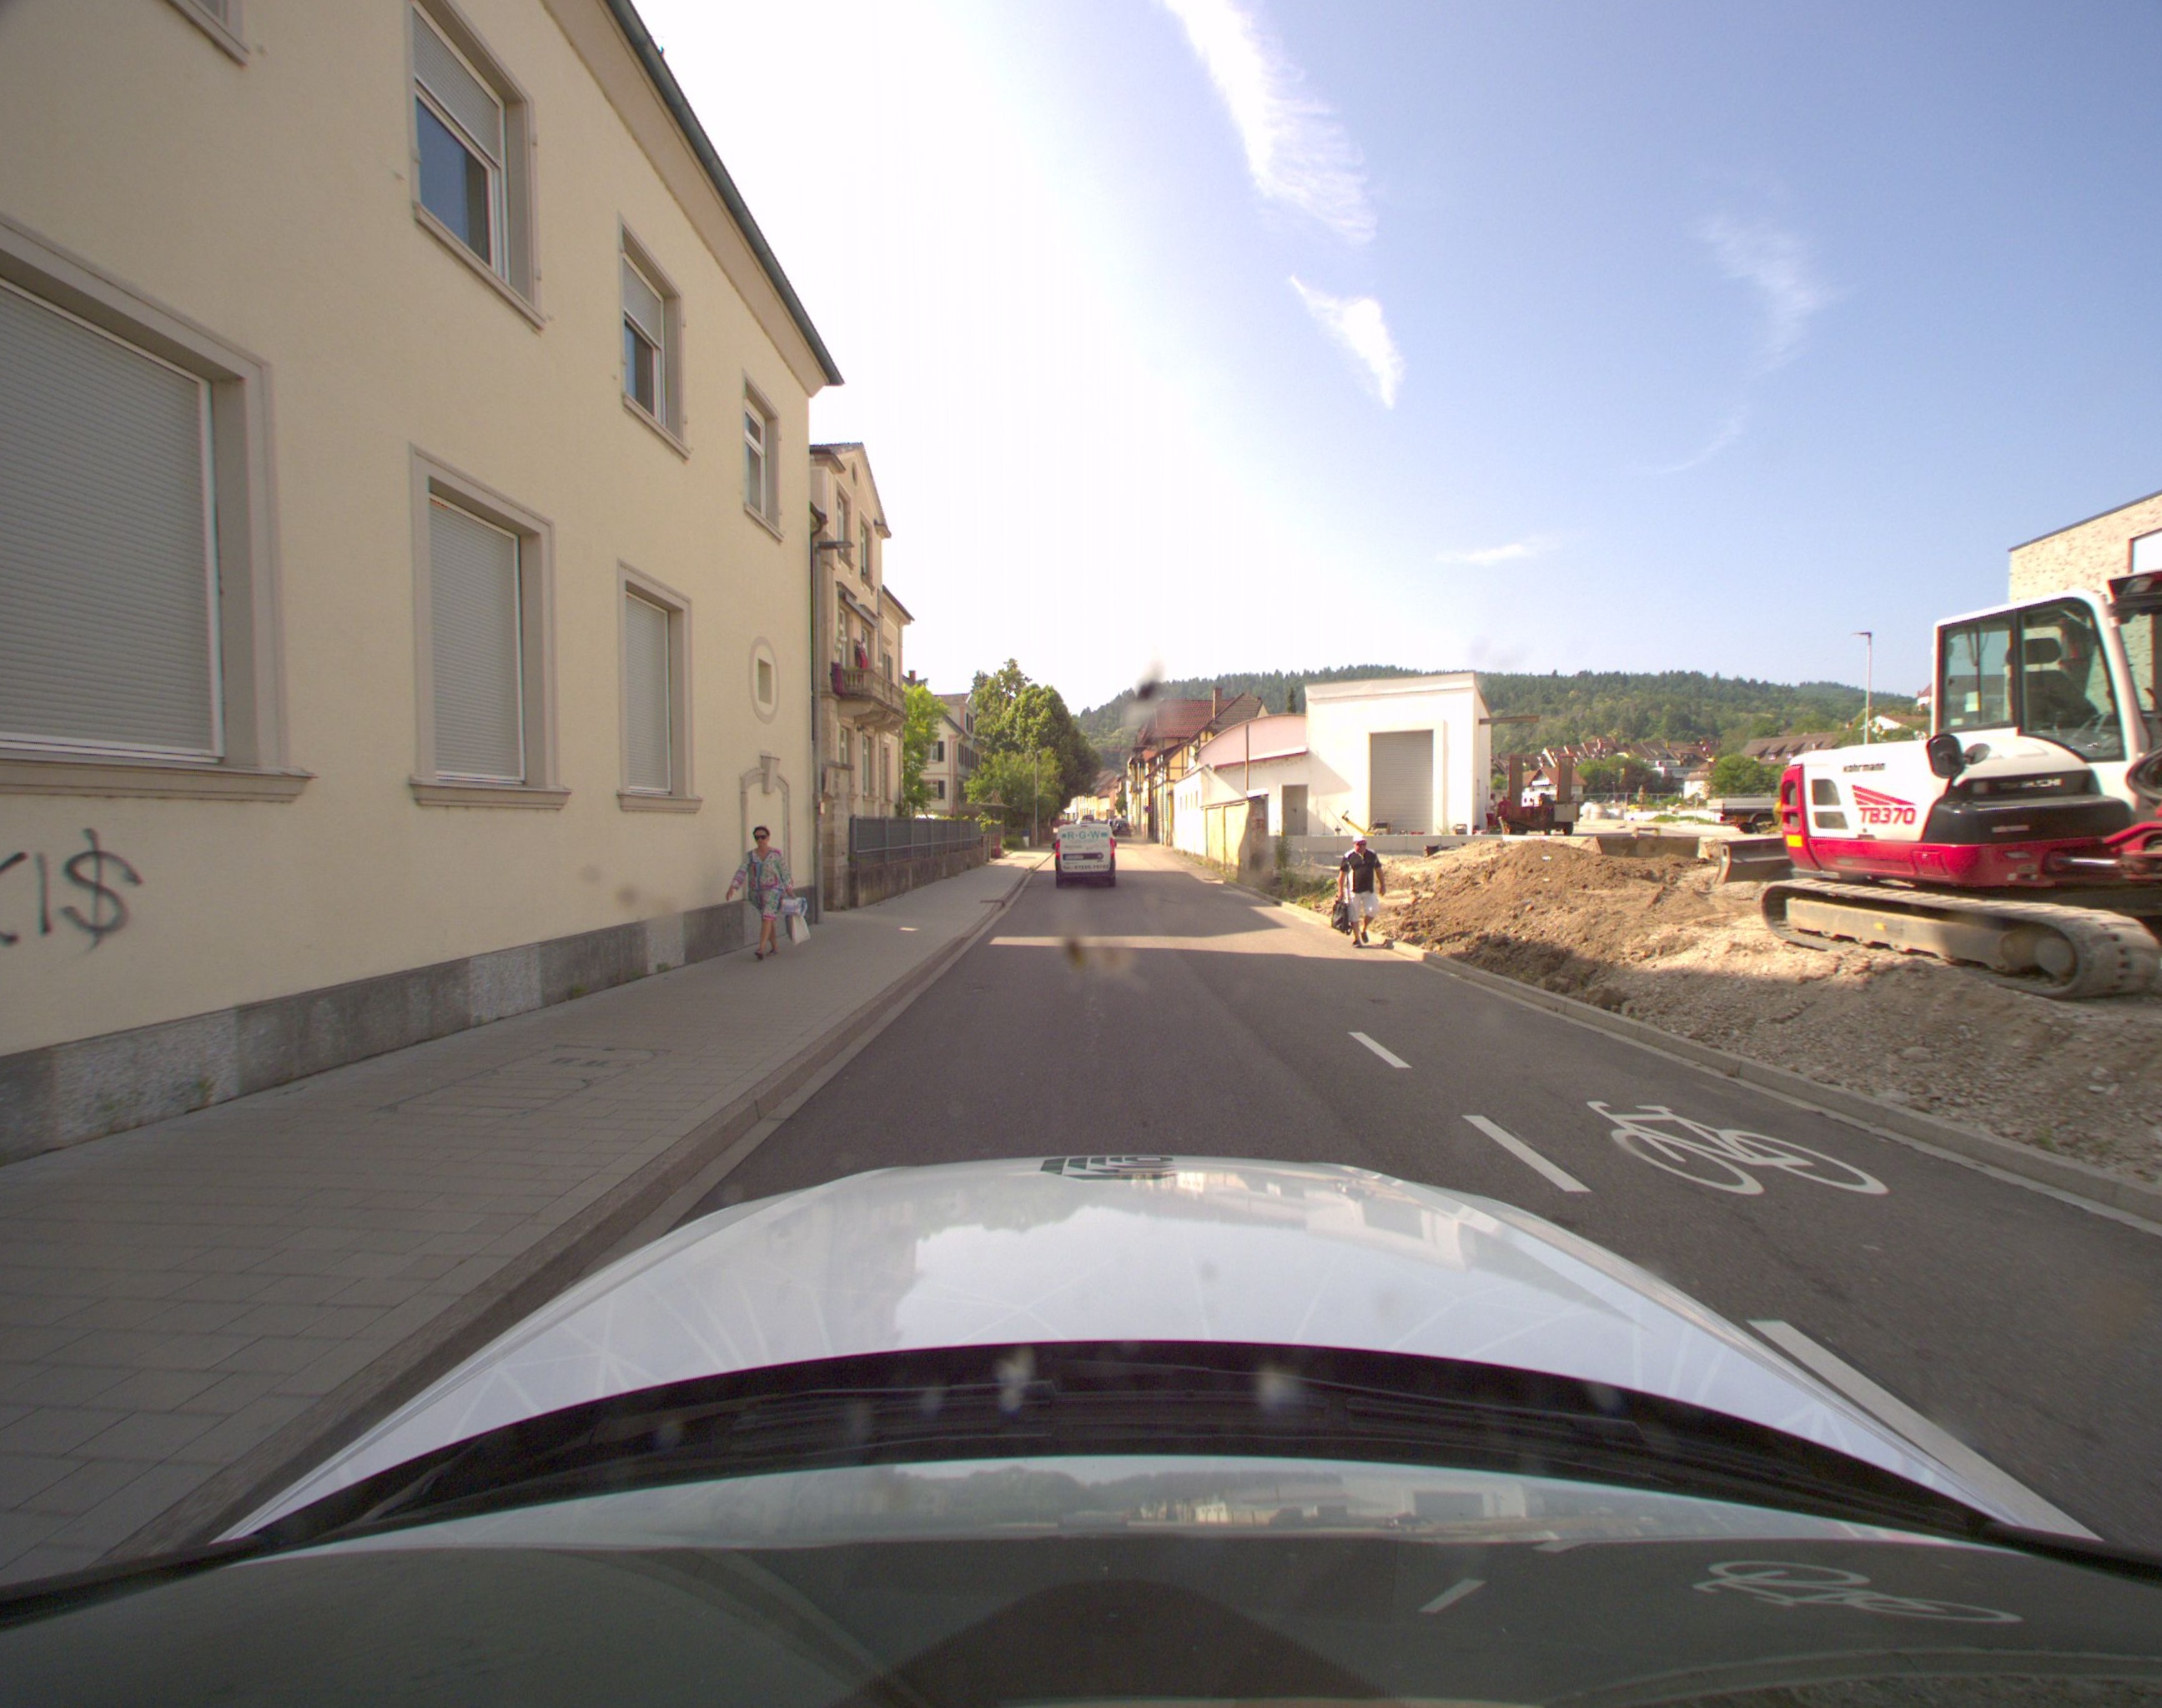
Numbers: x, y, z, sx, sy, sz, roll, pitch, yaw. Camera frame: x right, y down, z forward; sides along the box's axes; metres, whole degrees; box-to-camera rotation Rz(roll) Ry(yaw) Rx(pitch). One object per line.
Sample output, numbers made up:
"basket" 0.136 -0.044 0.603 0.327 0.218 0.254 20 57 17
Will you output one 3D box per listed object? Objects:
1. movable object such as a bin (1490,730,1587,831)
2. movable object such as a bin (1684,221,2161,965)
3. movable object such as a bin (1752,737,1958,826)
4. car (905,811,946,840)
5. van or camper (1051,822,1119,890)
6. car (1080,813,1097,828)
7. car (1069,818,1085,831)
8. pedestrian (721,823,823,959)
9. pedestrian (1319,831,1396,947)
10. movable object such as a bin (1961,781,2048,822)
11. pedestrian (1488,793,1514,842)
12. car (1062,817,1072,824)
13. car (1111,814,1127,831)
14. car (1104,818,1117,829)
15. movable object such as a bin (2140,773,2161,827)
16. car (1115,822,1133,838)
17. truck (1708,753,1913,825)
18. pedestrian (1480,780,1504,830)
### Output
"movable object such as a bin" 18.334 -2.810 32.465 2.823 3.620 5.773 3 4 33
"movable object such as a bin" 6.683 -1.323 3.852 2.284 3.853 7.810 1 2 5
"movable object such as a bin" 25.485 -2.320 27.055 4.569 2.569 1.937 -2 1 26
"car" -10.062 -1.879 53.000 1.818 1.772 4.681 2 3 -1
"van or camper" 0.104 -0.031 25.132 1.822 1.844 4.188 -3 2 0
"car" 0.793 -3.688 89.072 1.804 1.596 3.928 1 3 0
"car" -0.958 -7.091 194.864 2.873 2.835 6.110 -2 2 -7
"pedestrian" -3.833 0.436 10.156 0.954 1.631 0.758 0 1 0
"pedestrian" 4.133 0.506 12.219 0.885 1.683 0.718 1 1 0
"movable object such as a bin" 29.859 -1.689 26.364 1.288 1.267 1.324 2 3 11
"pedestrian" 16.524 -1.445 32.040 0.610 1.896 0.629 -1 3 -33
"car" -3.634 -8.519 207.894 1.772 1.798 3.986 -1 3 -11
"car" 4.558 -3.761 98.031 1.865 2.013 4.001 0 2 0
"car" 4.128 -4.285 114.511 1.665 1.507 3.999 -2 2 -1
"movable object such as a bin" 30.159 -1.432 21.868 1.570 1.463 1.324 2 3 10
"car" 4.654 -2.595 87.963 1.804 1.596 3.928 1 3 1
"truck" 26.963 -2.340 30.394 5.265 2.265 2.232 -2 1 26
"pedestrian" 15.830 -1.881 31.334 0.600 1.896 0.640 4 4 42
